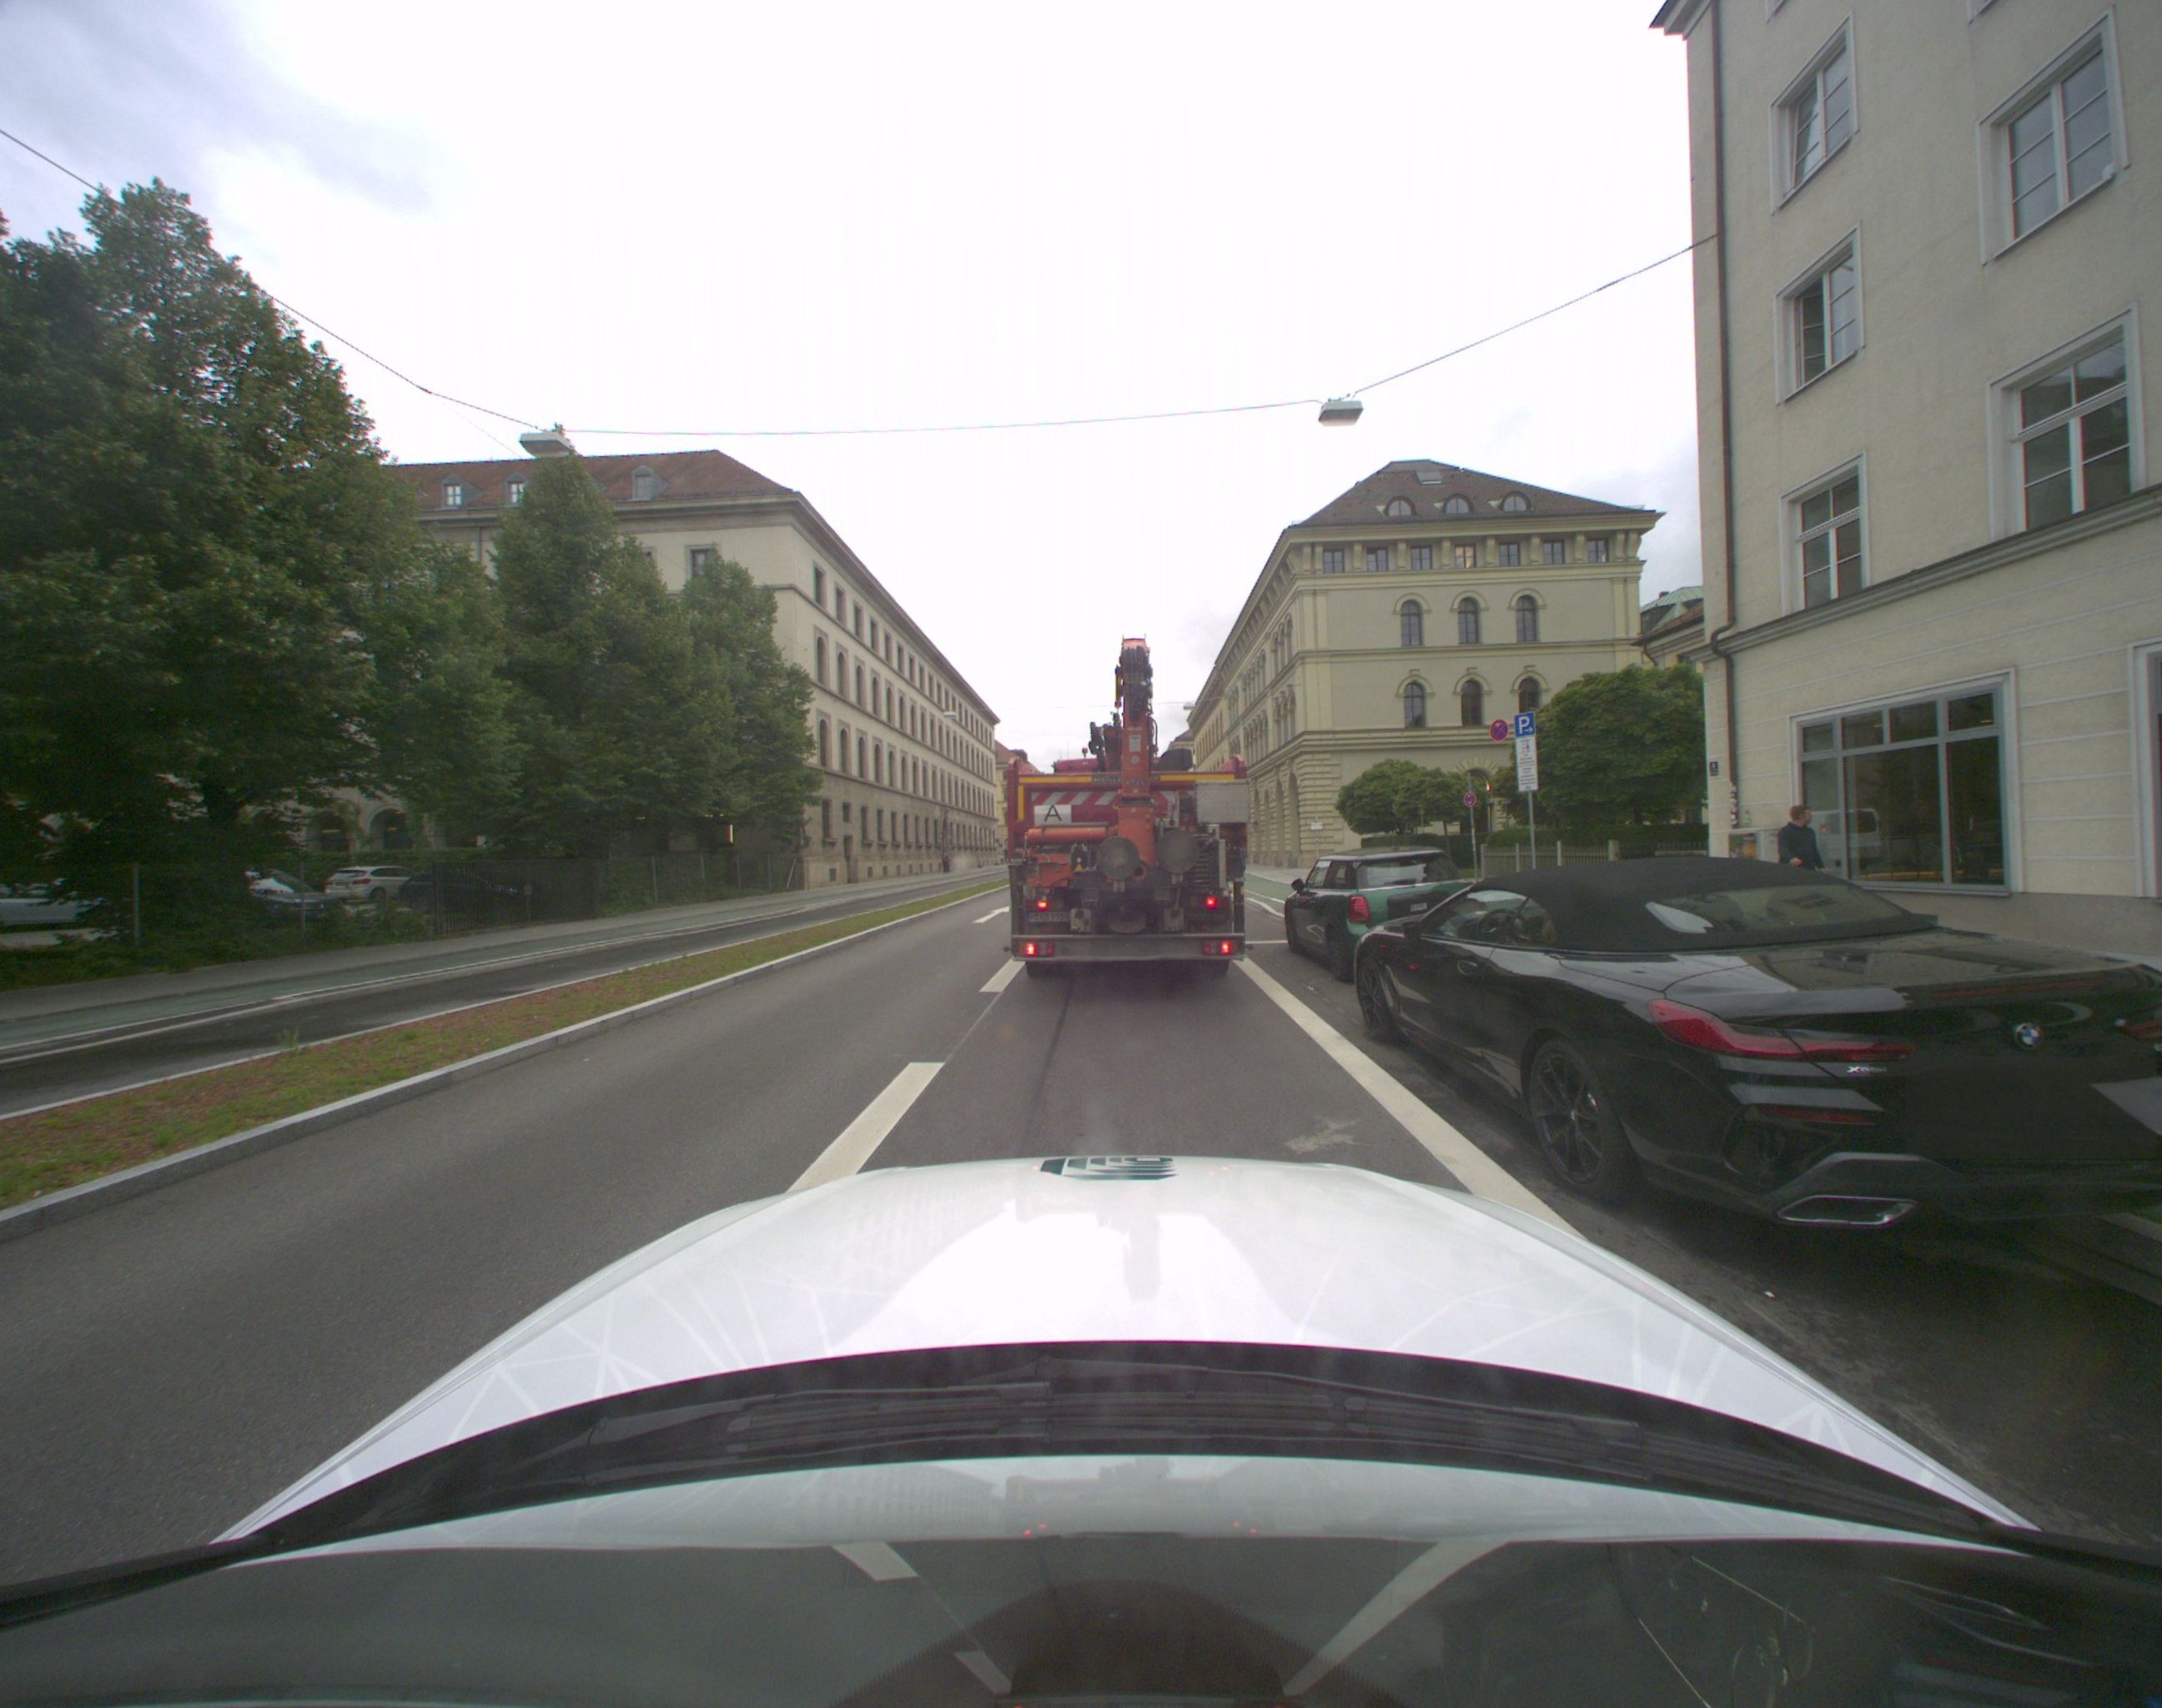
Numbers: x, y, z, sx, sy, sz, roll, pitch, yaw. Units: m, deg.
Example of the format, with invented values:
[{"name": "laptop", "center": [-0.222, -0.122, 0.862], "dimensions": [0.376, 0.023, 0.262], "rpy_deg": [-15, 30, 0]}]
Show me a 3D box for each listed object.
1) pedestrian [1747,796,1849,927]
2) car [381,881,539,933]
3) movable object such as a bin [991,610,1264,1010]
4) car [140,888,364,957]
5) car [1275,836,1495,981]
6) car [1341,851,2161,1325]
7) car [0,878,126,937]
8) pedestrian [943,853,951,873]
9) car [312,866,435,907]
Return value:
[{"name": "pedestrian", "center": [10.541, 0.101, 12.004], "dimensions": [0.787, 1.836, 0.778], "rpy_deg": [-2, 0, 3]}, {"name": "car", "center": [-21.139, 1.781, 27.833], "dimensions": [3.914, 1.545, 1.836], "rpy_deg": [-1, 1, 0]}, {"name": "movable object such as a bin", "center": [0.505, -0.418, 10.400], "dimensions": [2.414, 3.611, 5.853], "rpy_deg": [-1, 0, 1]}, {"name": "car", "center": [-21.514, 1.752, 21.261], "dimensions": [3.914, 1.545, 1.836], "rpy_deg": [-1, 1, 0]}, {"name": "car", "center": [3.652, 0.575, 10.403], "dimensions": [1.604, 1.495, 3.426], "rpy_deg": [-2, 0, 2]}, {"name": "car", "center": [2.975, 0.711, 4.698], "dimensions": [1.673, 1.386, 4.429], "rpy_deg": [-2, 0, 2]}, {"name": "car", "center": [-31.341, 1.569, 23.813], "dimensions": [1.824, 1.545, 4.178], "rpy_deg": [-1, 1, 1]}, {"name": "pedestrian", "center": [-12.344, 0.813, 74.933], "dimensions": [0.586, 1.831, 0.499], "rpy_deg": [-1, 0, 1]}, {"name": "car", "center": [-30.739, 1.382, 35.557], "dimensions": [1.824, 1.545, 3.941], "rpy_deg": [-1, 1, 1]}]
